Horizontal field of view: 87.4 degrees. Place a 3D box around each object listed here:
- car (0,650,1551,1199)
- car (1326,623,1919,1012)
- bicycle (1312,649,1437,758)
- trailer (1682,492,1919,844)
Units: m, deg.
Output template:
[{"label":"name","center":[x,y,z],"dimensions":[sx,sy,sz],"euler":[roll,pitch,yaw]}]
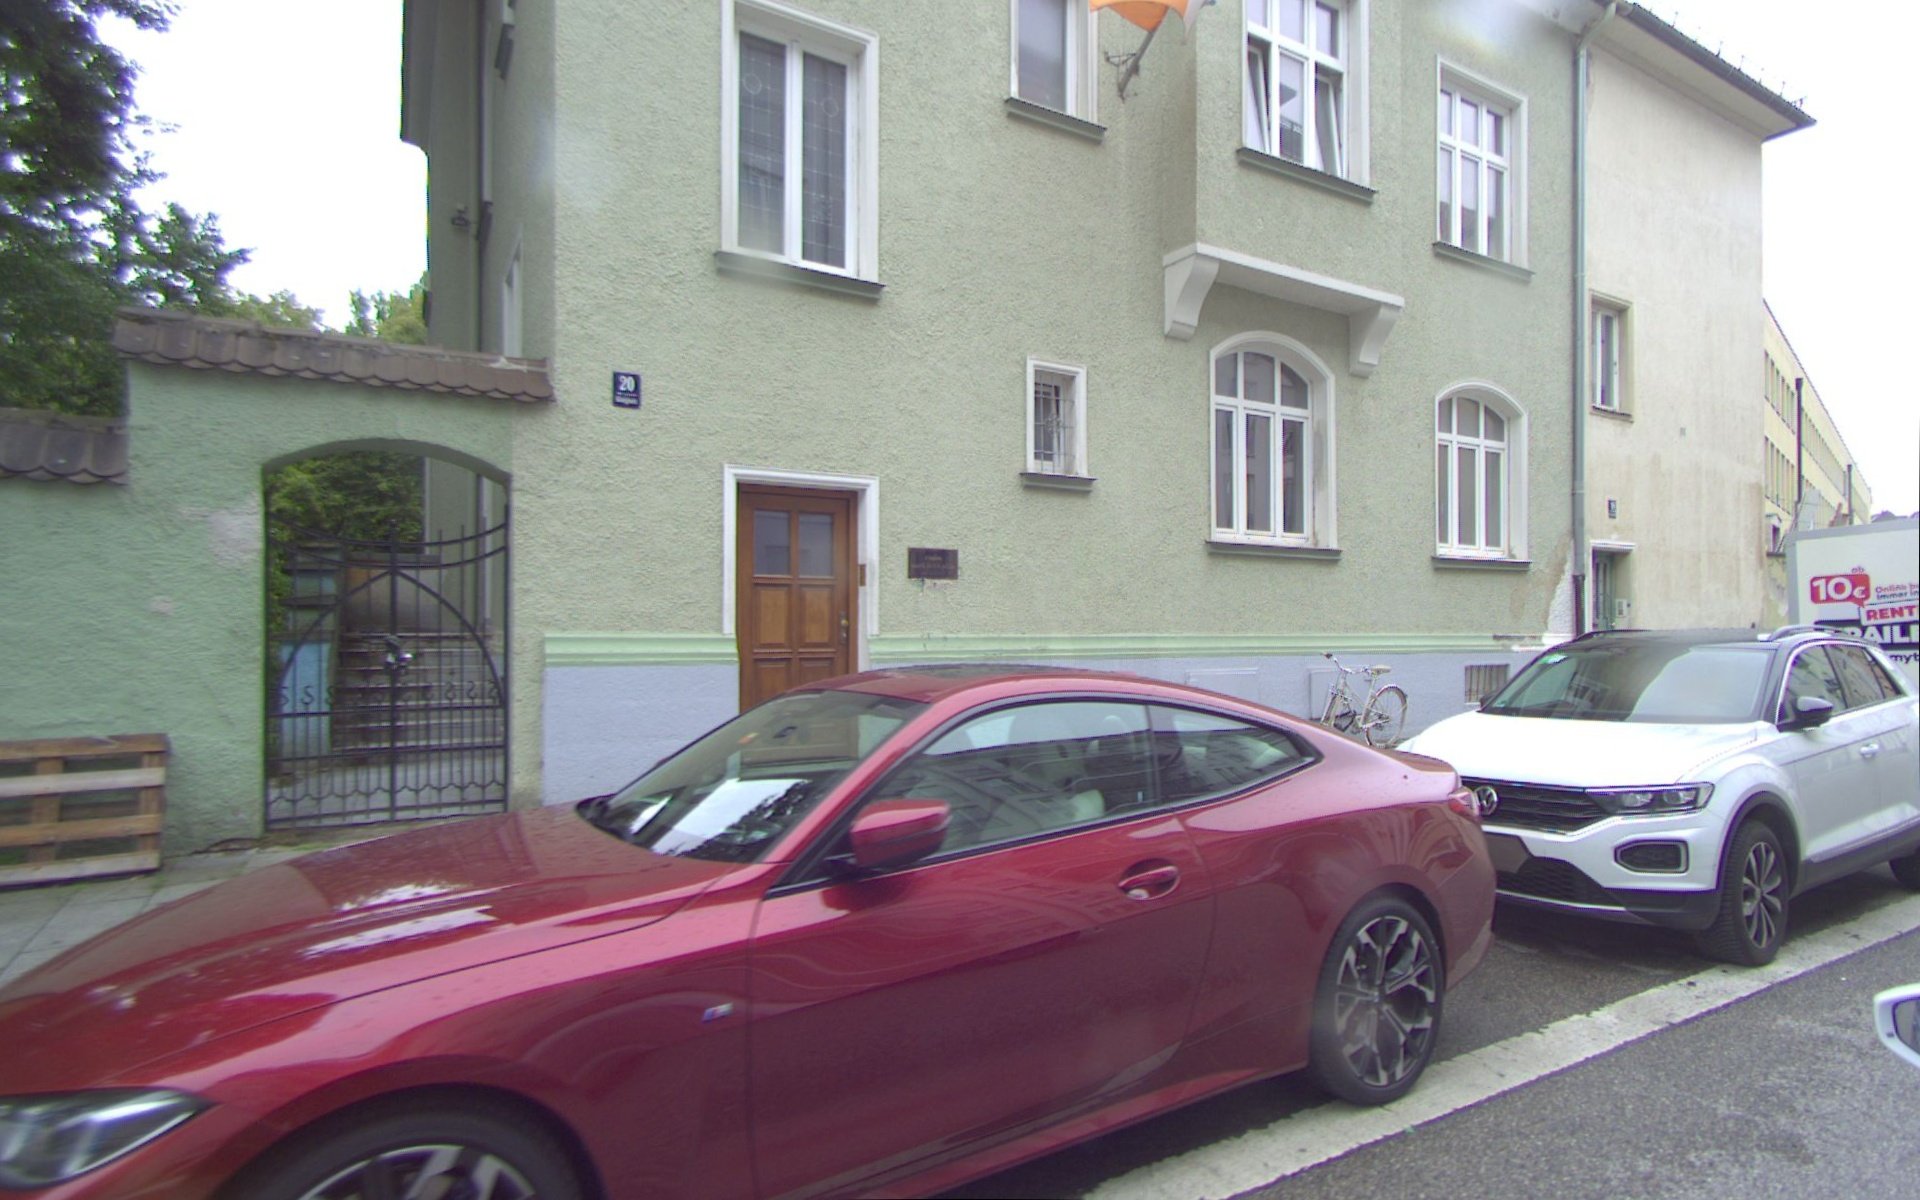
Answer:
[{"label":"car","center":[-0.158,0.904,3.262],"dimensions":[4.353,1.386,1.737],"euler":[0,-2,-32]},{"label":"car","center":[4.185,0.937,5.884],"dimensions":[4.060,1.550,1.671],"euler":[0,-2,-32]},{"label":"bicycle","center":[4.535,1.099,10.960],"dimensions":[1.506,1.099,0.458],"euler":[1,0,-32]},{"label":"trailer","center":[8.617,0.544,8.677],"dimensions":[4.518,2.503,1.969],"euler":[1,-4,-28]}]
